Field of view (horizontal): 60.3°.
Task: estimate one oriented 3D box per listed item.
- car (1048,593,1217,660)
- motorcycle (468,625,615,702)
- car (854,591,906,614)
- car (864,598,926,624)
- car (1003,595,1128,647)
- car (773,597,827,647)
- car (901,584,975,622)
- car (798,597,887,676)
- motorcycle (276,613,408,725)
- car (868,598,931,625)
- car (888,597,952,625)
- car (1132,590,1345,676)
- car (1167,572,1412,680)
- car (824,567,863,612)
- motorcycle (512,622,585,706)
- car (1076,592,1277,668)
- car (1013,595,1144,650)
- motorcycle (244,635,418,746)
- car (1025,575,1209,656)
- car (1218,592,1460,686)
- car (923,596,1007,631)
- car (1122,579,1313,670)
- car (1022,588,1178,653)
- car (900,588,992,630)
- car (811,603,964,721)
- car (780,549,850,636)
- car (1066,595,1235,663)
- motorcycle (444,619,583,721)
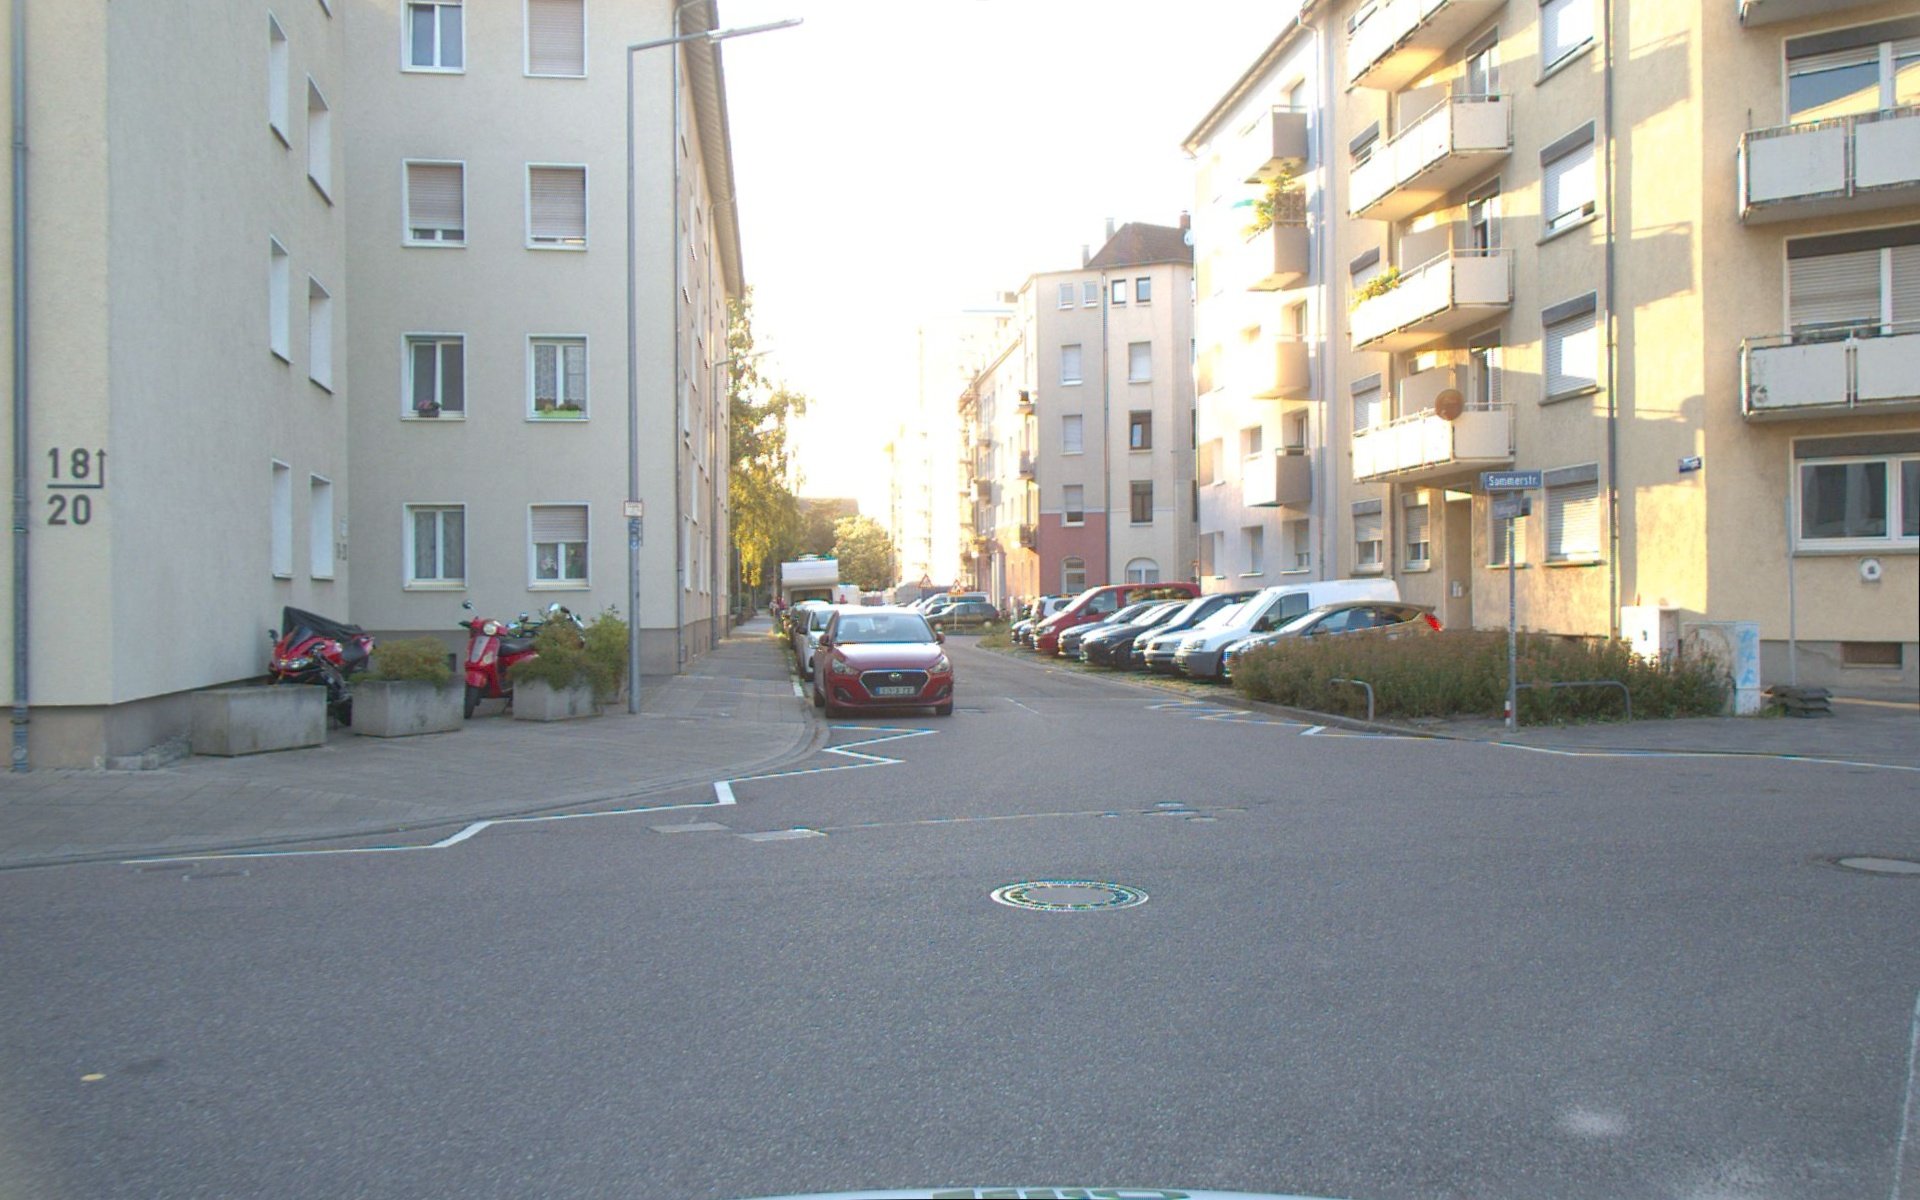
[{"bbox_3d":[4.479,0.676,43.102,4.067,1.496,1.633,-3,0,-8],"label":"car"},{"bbox_3d":[-6.390,0.966,25.288,2.079,1.124,0.560,-1,0,5],"label":"motorcycle"},{"bbox_3d":[-6.290,0.192,130.161,3.912,1.557,1.656,-3,0,-7],"label":"car"},{"bbox_3d":[-4.315,0.709,109.534,3.912,1.557,1.656,-3,0,-7],"label":"car"},{"bbox_3d":[3.399,0.688,53.431,3.740,1.453,1.632,-3,0,-8],"label":"car"},{"bbox_3d":[-5.546,0.740,56.982,1.622,1.592,3.869,-3,0,-8],"label":"car"},{"bbox_3d":[-1.276,0.155,94.648,3.915,2.049,1.995,-1,0,-11],"label":"car"},{"bbox_3d":[-2.529,0.738,35.058,1.585,1.499,3.498,-3,0,-8],"label":"car"},{"bbox_3d":[-7.554,0.812,20.334,0.708,1.287,2.082,-1,0,4],"label":"motorcycle"},{"bbox_3d":[-3.969,0.756,107.616,3.912,1.557,1.656,-3,0,-7],"label":"car"},{"bbox_3d":[-2.568,0.708,105.275,3.912,1.557,1.656,-3,0,-7],"label":"car"},{"bbox_3d":[5.554,0.643,33.269,3.880,1.548,1.703,-2,0,-7],"label":"car"},{"bbox_3d":[6.184,0.476,31.291,4.197,1.893,1.739,-1,-1,-7],"label":"car"},{"bbox_3d":[-7.562,-0.633,107.277,2.089,2.764,4.824,-3,0,-8],"label":"car"},{"bbox_3d":[-5.733,0.868,23.161,0.669,1.098,2.032,-1,0,-5],"label":"motorcycle"},{"bbox_3d":[4.912,0.673,37.738,4.226,1.475,1.653,-3,0,-7],"label":"car"},{"bbox_3d":[3.619,0.689,50.925,3.740,1.453,1.632,-3,0,-8],"label":"car"},{"bbox_3d":[-6.848,0.958,18.134,0.708,1.098,2.082,-1,0,14],"label":"motorcycle"},{"bbox_3d":[4.287,0.411,45.630,4.633,1.942,2.056,-3,0,-8],"label":"car"},{"bbox_3d":[6.639,0.663,29.197,3.798,1.518,1.739,-1,0,-7],"label":"car"},{"bbox_3d":[0.225,0.663,81.491,3.912,1.557,1.656,-3,0,-7],"label":"car"},{"bbox_3d":[5.521,0.516,35.704,3.718,1.725,1.653,-3,0,-7],"label":"car"},{"bbox_3d":[4.075,0.593,48.488,4.243,1.666,1.815,-3,0,-8],"label":"car"},{"bbox_3d":[-0.766,0.492,88.649,4.722,2.002,1.736,-3,0,-7],"label":"car"},{"bbox_3d":[-1.128,0.821,23.767,1.810,1.499,4.071,-1,0,-8],"label":"car"},{"bbox_3d":[-6.074,-0.286,68.716,2.570,3.326,7.686,-3,0,-6],"label":"car"},{"bbox_3d":[4.682,0.718,40.914,3.803,1.441,1.633,-3,0,-9],"label":"car"},{"bbox_3d":[-5.569,0.852,20.762,0.674,1.181,2.035,-1,0,18],"label":"motorcycle"}]
